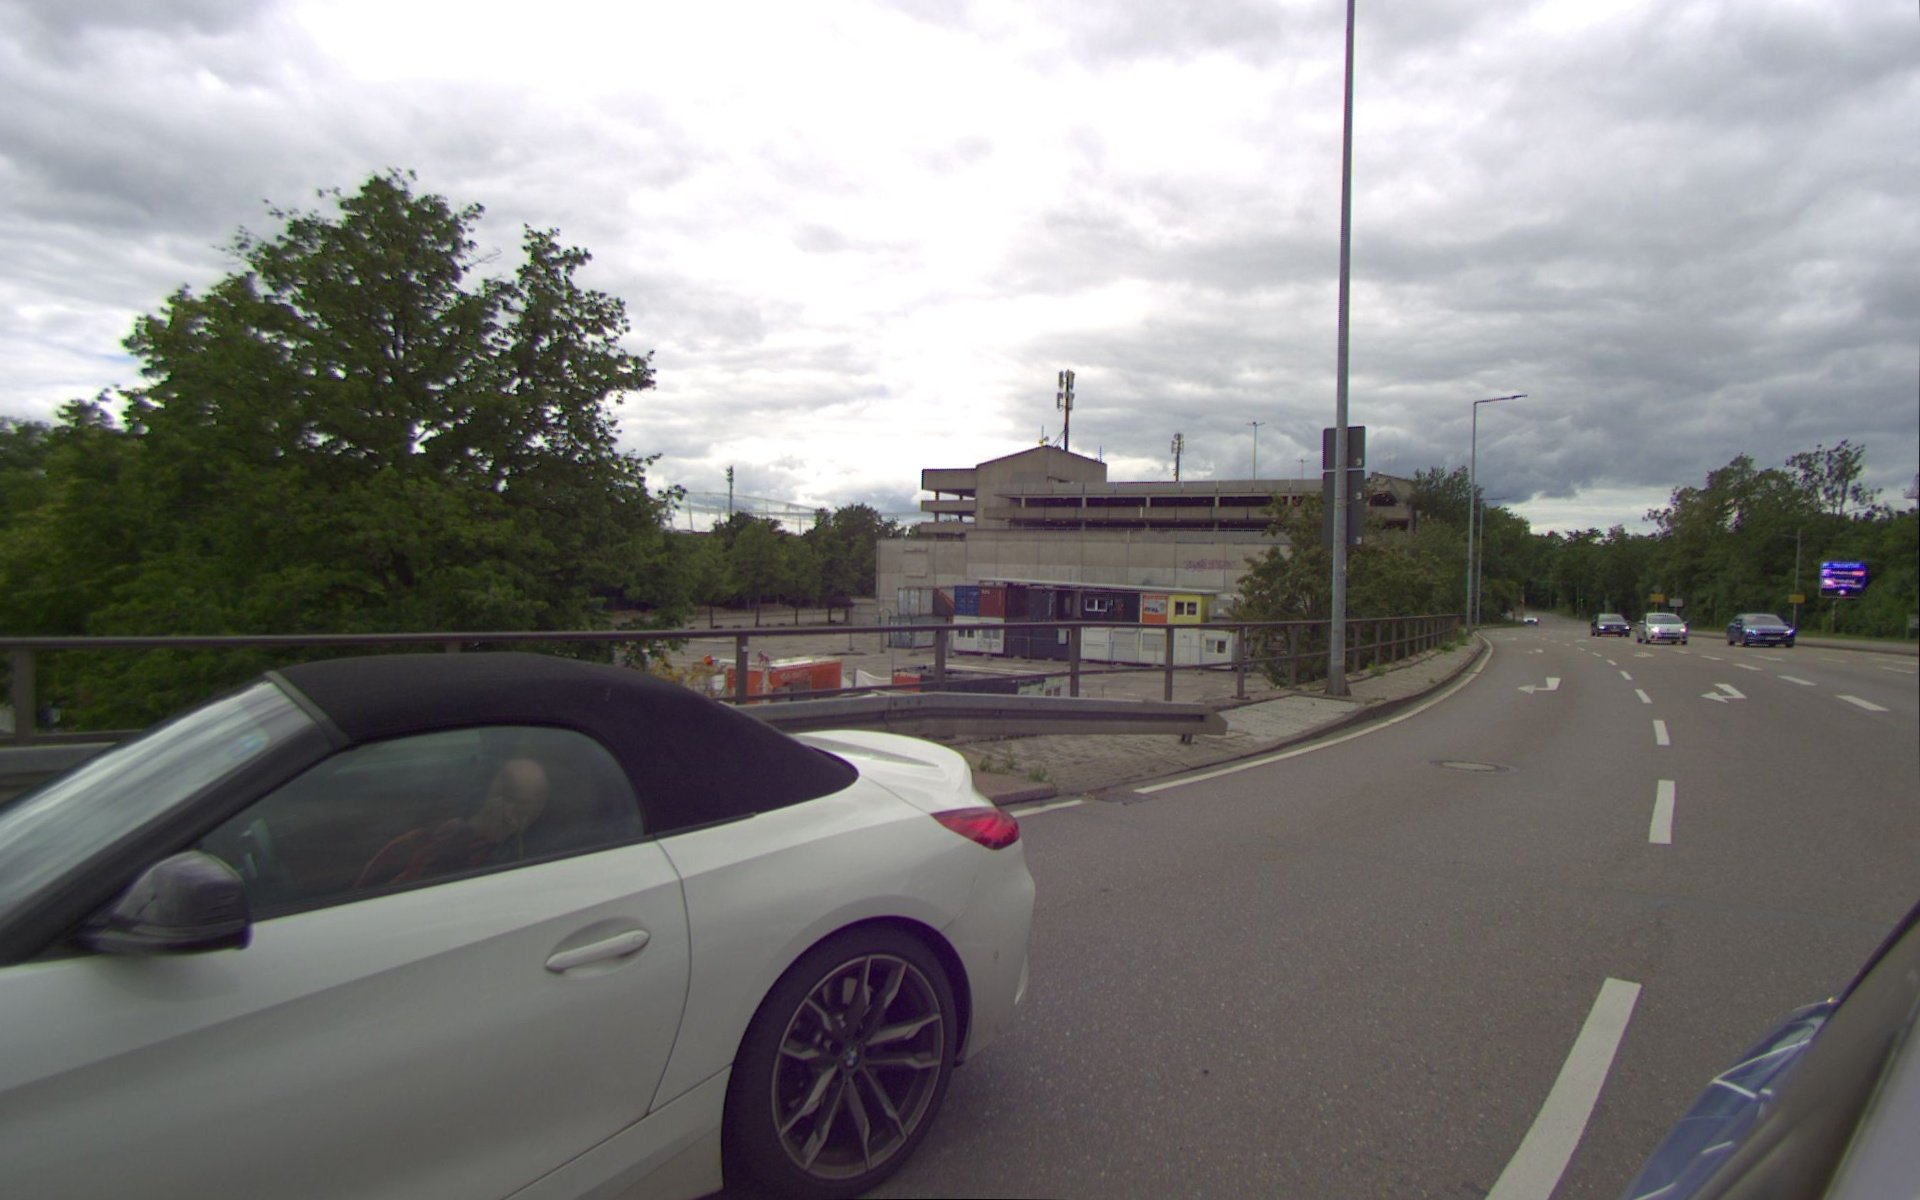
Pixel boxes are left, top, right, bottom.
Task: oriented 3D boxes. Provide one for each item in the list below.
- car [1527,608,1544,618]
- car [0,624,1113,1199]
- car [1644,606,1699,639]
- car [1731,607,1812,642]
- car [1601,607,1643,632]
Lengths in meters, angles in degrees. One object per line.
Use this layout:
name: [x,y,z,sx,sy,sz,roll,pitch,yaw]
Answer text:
car: [80.727,1.798,141.903,1.848,1.434,4.298,1,0,27]
car: [-1.730,0.761,2.393,4.186,1.308,1.809,0,0,-39]
car: [33.339,1.026,47.482,1.595,1.434,3.557,1,0,27]
car: [35.850,1.026,44.844,1.825,1.434,4.538,1,0,26]
car: [41.511,1.195,63.537,1.849,1.434,4.295,1,0,28]
